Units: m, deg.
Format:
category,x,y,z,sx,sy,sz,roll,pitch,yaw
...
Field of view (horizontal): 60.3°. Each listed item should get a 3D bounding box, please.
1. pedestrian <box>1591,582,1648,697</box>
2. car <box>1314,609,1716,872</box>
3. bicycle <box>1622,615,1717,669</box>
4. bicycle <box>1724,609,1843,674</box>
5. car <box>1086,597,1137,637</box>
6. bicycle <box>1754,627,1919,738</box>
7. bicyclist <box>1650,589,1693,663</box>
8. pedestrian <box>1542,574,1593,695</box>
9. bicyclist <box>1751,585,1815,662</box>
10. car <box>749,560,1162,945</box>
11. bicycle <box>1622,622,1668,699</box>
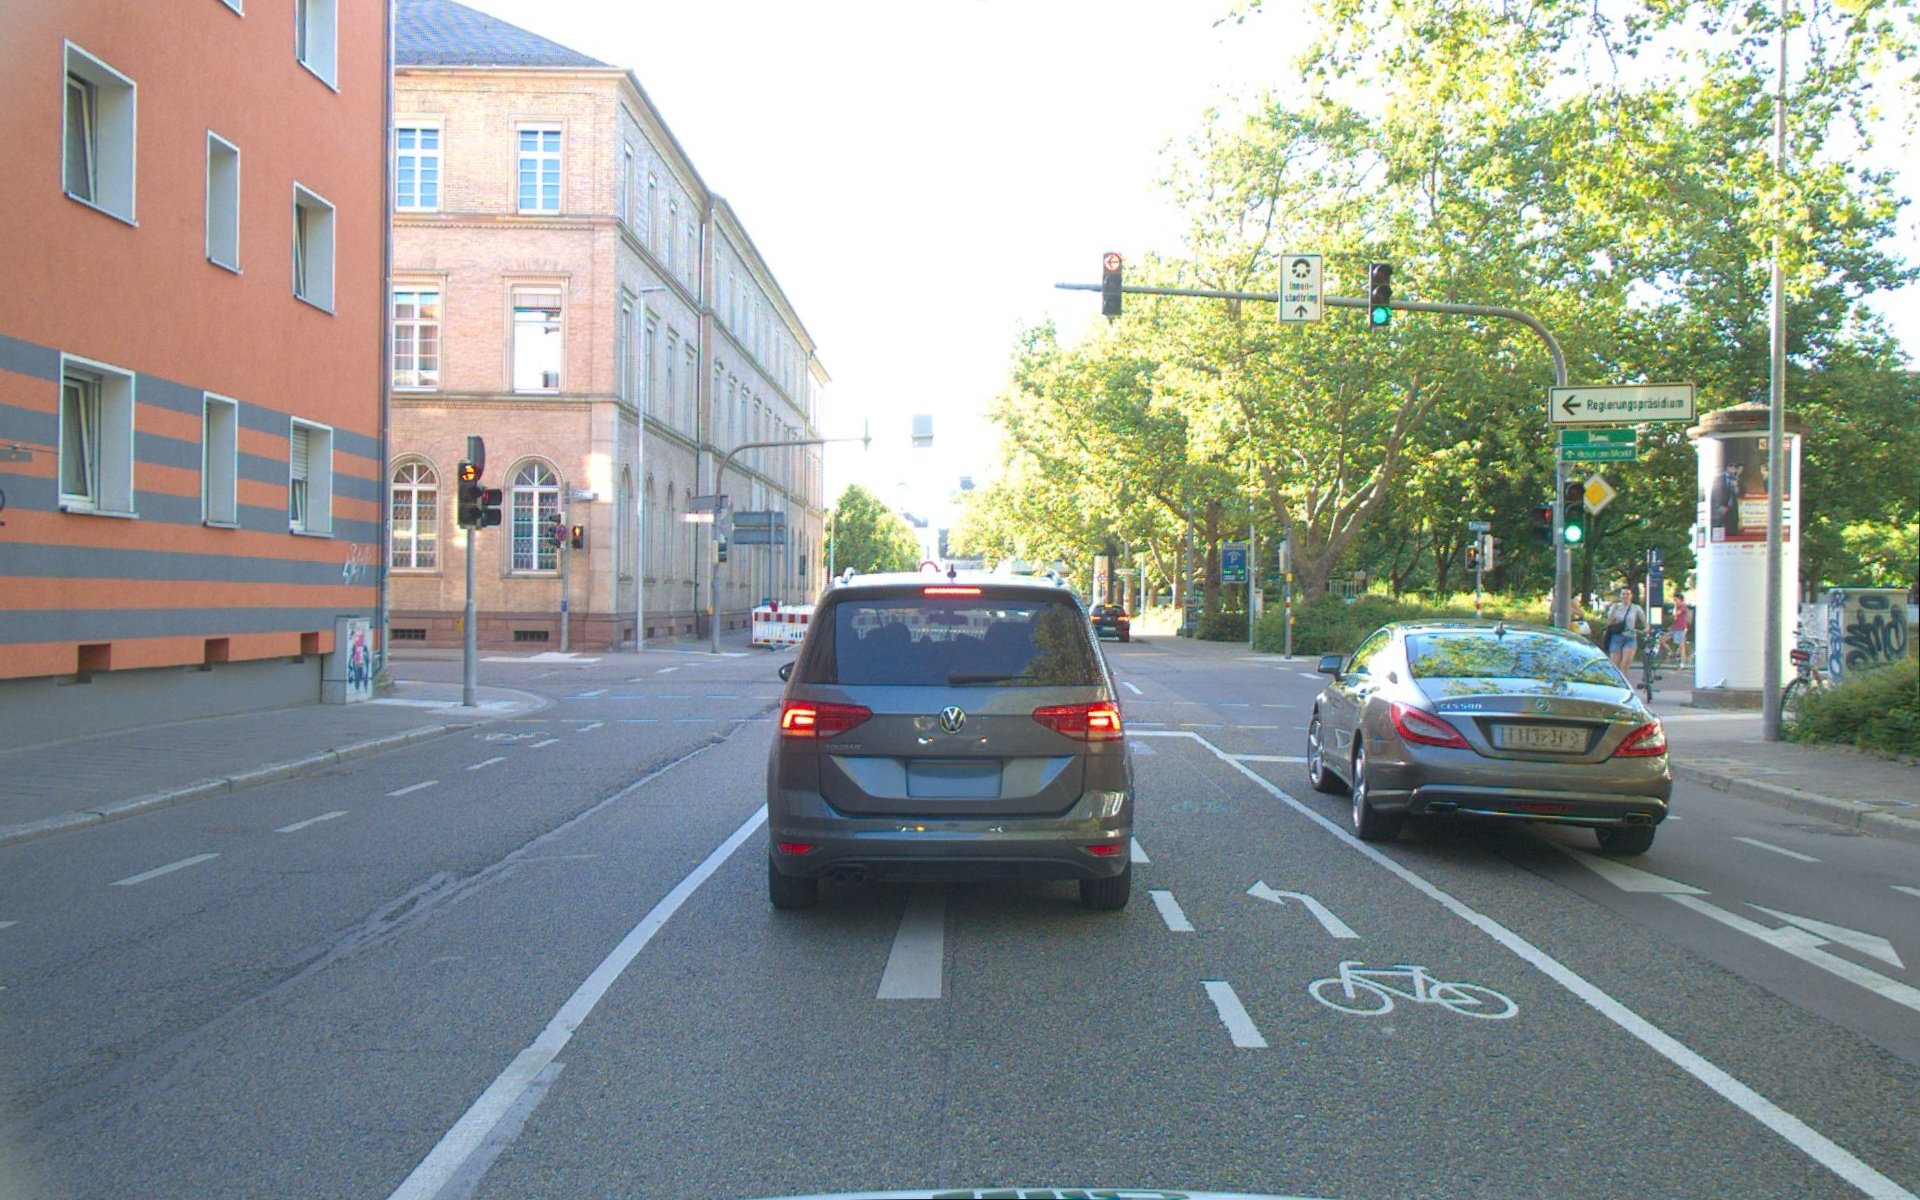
category,x,y,z,sx,sy,sz,roll,pitch,yaw
pedestrian,10.138,0.597,25.460,0.668,1.727,0.971,1,0,15
car,3.662,0.811,11.763,1.804,1.454,4.520,1,0,7
bicycle,16.861,0.996,39.307,1.989,1.242,0.599,1,0,0
bicycle,17.972,0.890,36.104,2.241,1.349,0.660,1,0,1
car,5.945,0.660,65.138,1.655,1.465,3.902,3,0,1
bicycle,10.191,0.936,18.943,1.935,1.210,0.528,1,0,-1
bicyclist,16.905,0.606,39.316,0.695,1.727,0.675,1,0,0
pedestrian,9.472,0.541,25.796,0.717,1.840,0.909,-1,-1,20
bicyclist,17.960,0.504,36.113,0.944,1.643,0.870,1,0,2
car,0.045,0.656,9.100,1.772,1.640,4.001,0,0,2
bicycle,10.473,0.899,25.319,0.513,1.119,1.742,1,0,19
